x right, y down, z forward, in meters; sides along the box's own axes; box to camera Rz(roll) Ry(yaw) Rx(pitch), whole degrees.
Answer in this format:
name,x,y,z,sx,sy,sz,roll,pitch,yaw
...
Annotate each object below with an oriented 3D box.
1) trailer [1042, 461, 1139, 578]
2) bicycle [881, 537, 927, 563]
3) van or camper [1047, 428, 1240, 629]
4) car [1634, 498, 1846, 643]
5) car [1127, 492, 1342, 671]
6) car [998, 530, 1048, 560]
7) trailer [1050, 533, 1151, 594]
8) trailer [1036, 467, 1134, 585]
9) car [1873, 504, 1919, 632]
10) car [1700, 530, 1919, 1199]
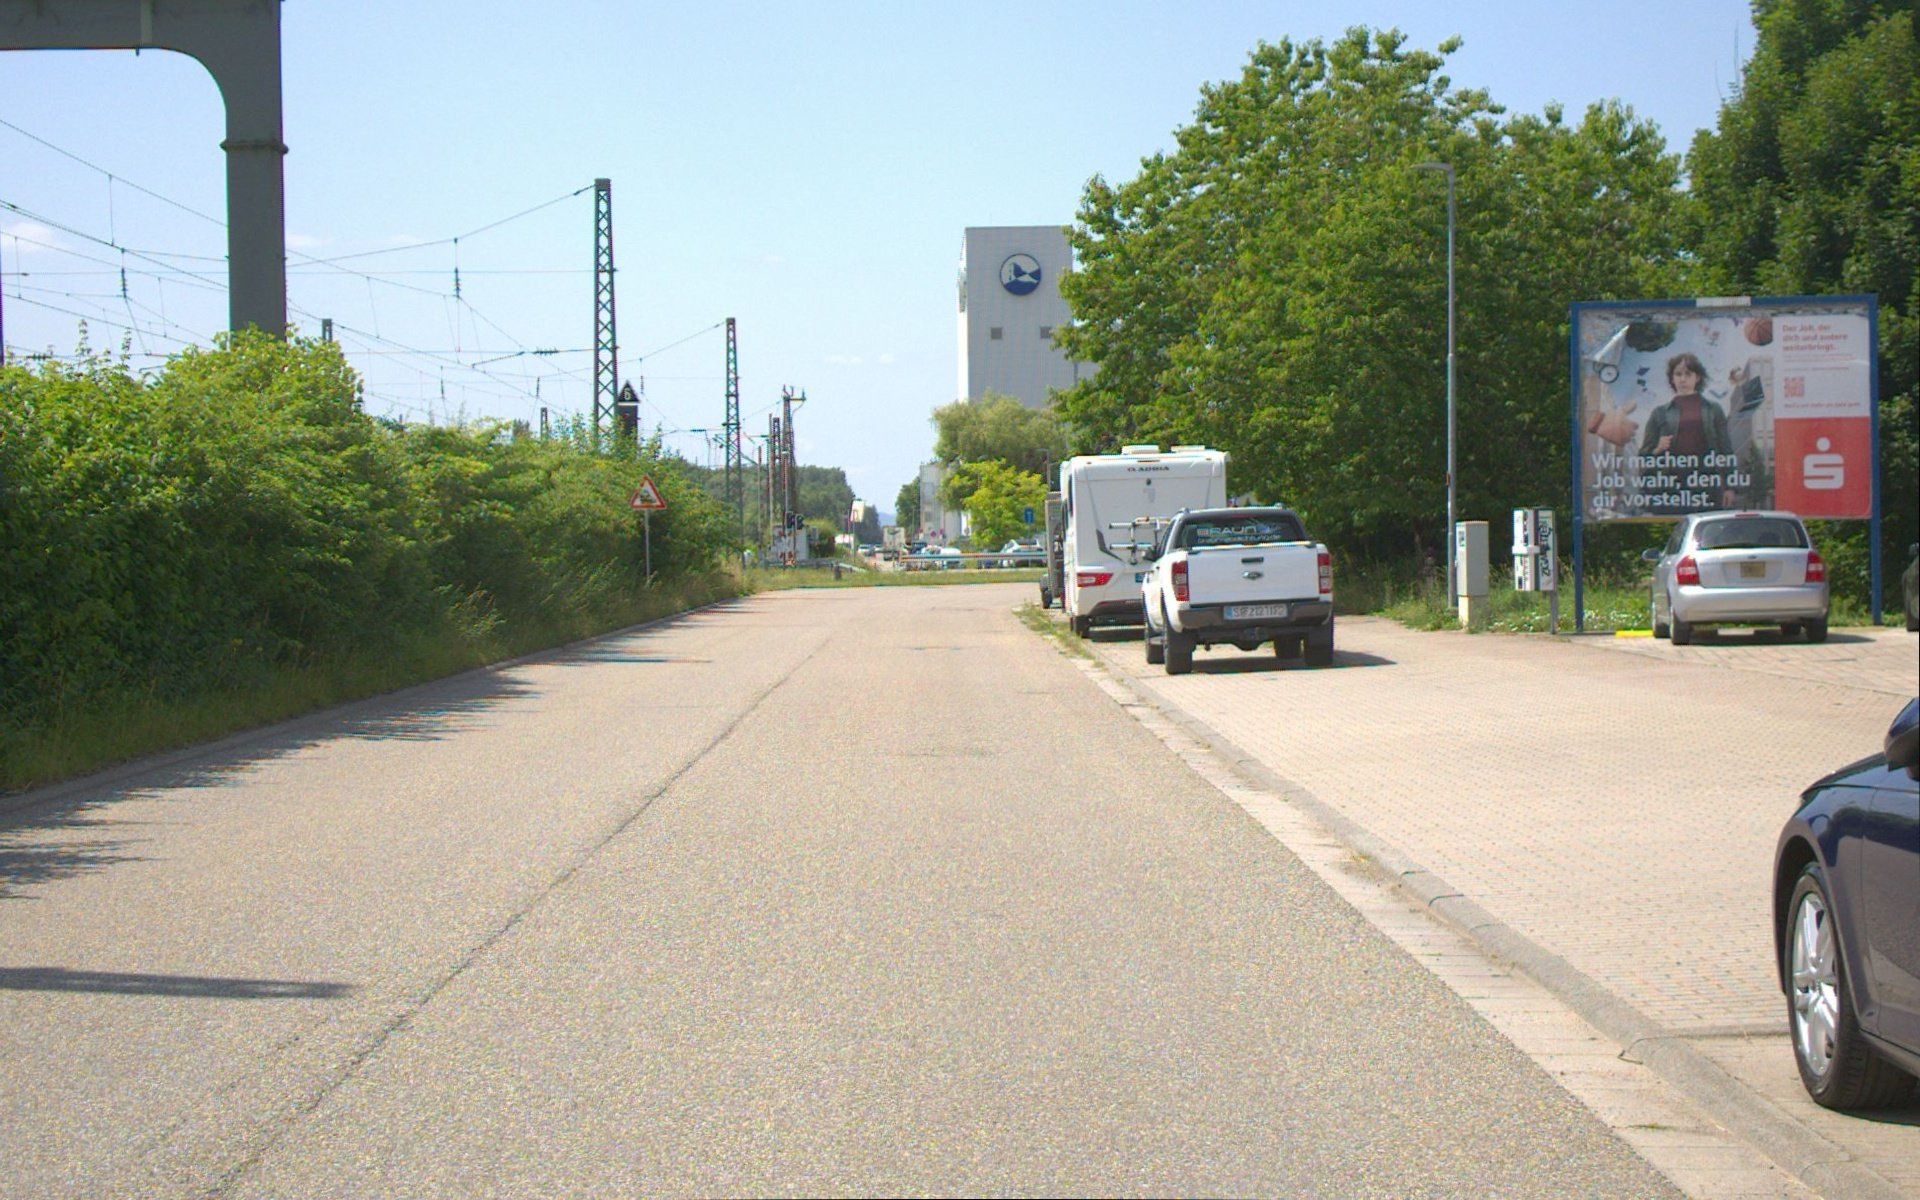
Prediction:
name,x,y,z,sx,sy,sz,roll,pitch,yaw
trailer,3.193,-1.961,83.253,1.933,2.635,5.183,-3,1,5
bicycle,-2.561,-2.269,157.244,2.144,1.161,0.660,0,2,36
van or camper,2.765,-1.108,53.757,2.439,2.817,7.624,-2,1,0
car,8.787,-0.358,39.009,1.906,1.475,3.999,-3,1,7
car,3.069,-0.245,39.538,1.847,1.808,5.425,-4,1,-1
car,3.197,-2.821,176.075,1.993,1.504,4.455,-1,1,-6
trailer,2.965,-0.771,72.556,2.005,1.119,4.488,-3,0,2
trailer,2.812,-1.684,78.153,1.919,2.499,4.741,-3,1,0
car,11.342,-0.407,38.200,1.747,1.371,3.999,-3,1,7
car,2.979,0.575,7.161,1.762,1.467,4.718,-2,1,-1
